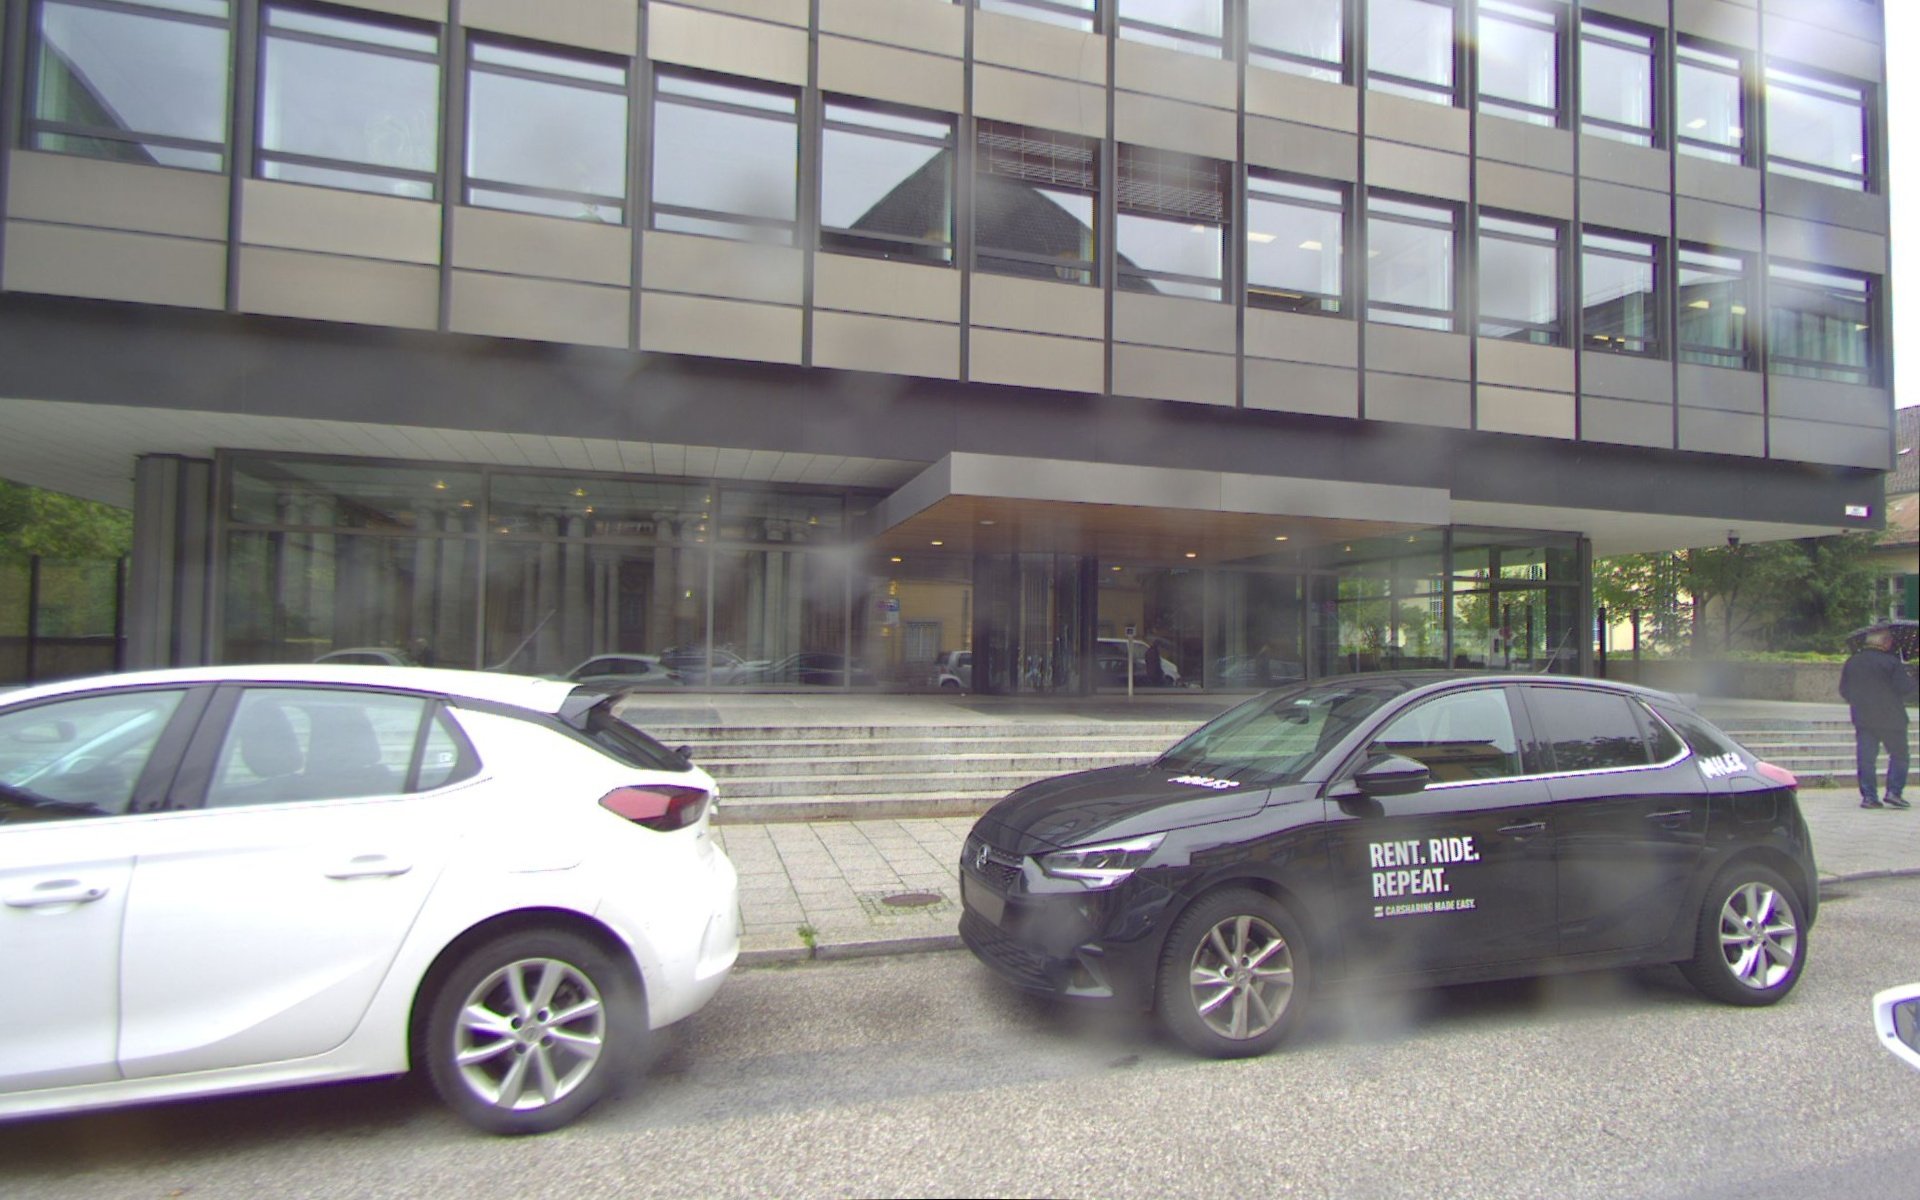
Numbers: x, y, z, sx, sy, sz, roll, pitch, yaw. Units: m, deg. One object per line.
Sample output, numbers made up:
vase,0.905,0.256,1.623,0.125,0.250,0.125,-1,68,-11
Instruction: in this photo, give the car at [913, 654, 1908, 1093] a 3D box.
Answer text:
car,1.984,1.046,4.822,4.165,1.479,1.741,1,-5,-15

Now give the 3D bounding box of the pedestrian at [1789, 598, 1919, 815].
pedestrian,9.572,1.044,10.347,1.201,2.082,1.135,1,-1,-17

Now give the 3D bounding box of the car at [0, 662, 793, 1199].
car,-2.794,0.979,3.519,4.208,1.458,1.683,1,-6,-16
